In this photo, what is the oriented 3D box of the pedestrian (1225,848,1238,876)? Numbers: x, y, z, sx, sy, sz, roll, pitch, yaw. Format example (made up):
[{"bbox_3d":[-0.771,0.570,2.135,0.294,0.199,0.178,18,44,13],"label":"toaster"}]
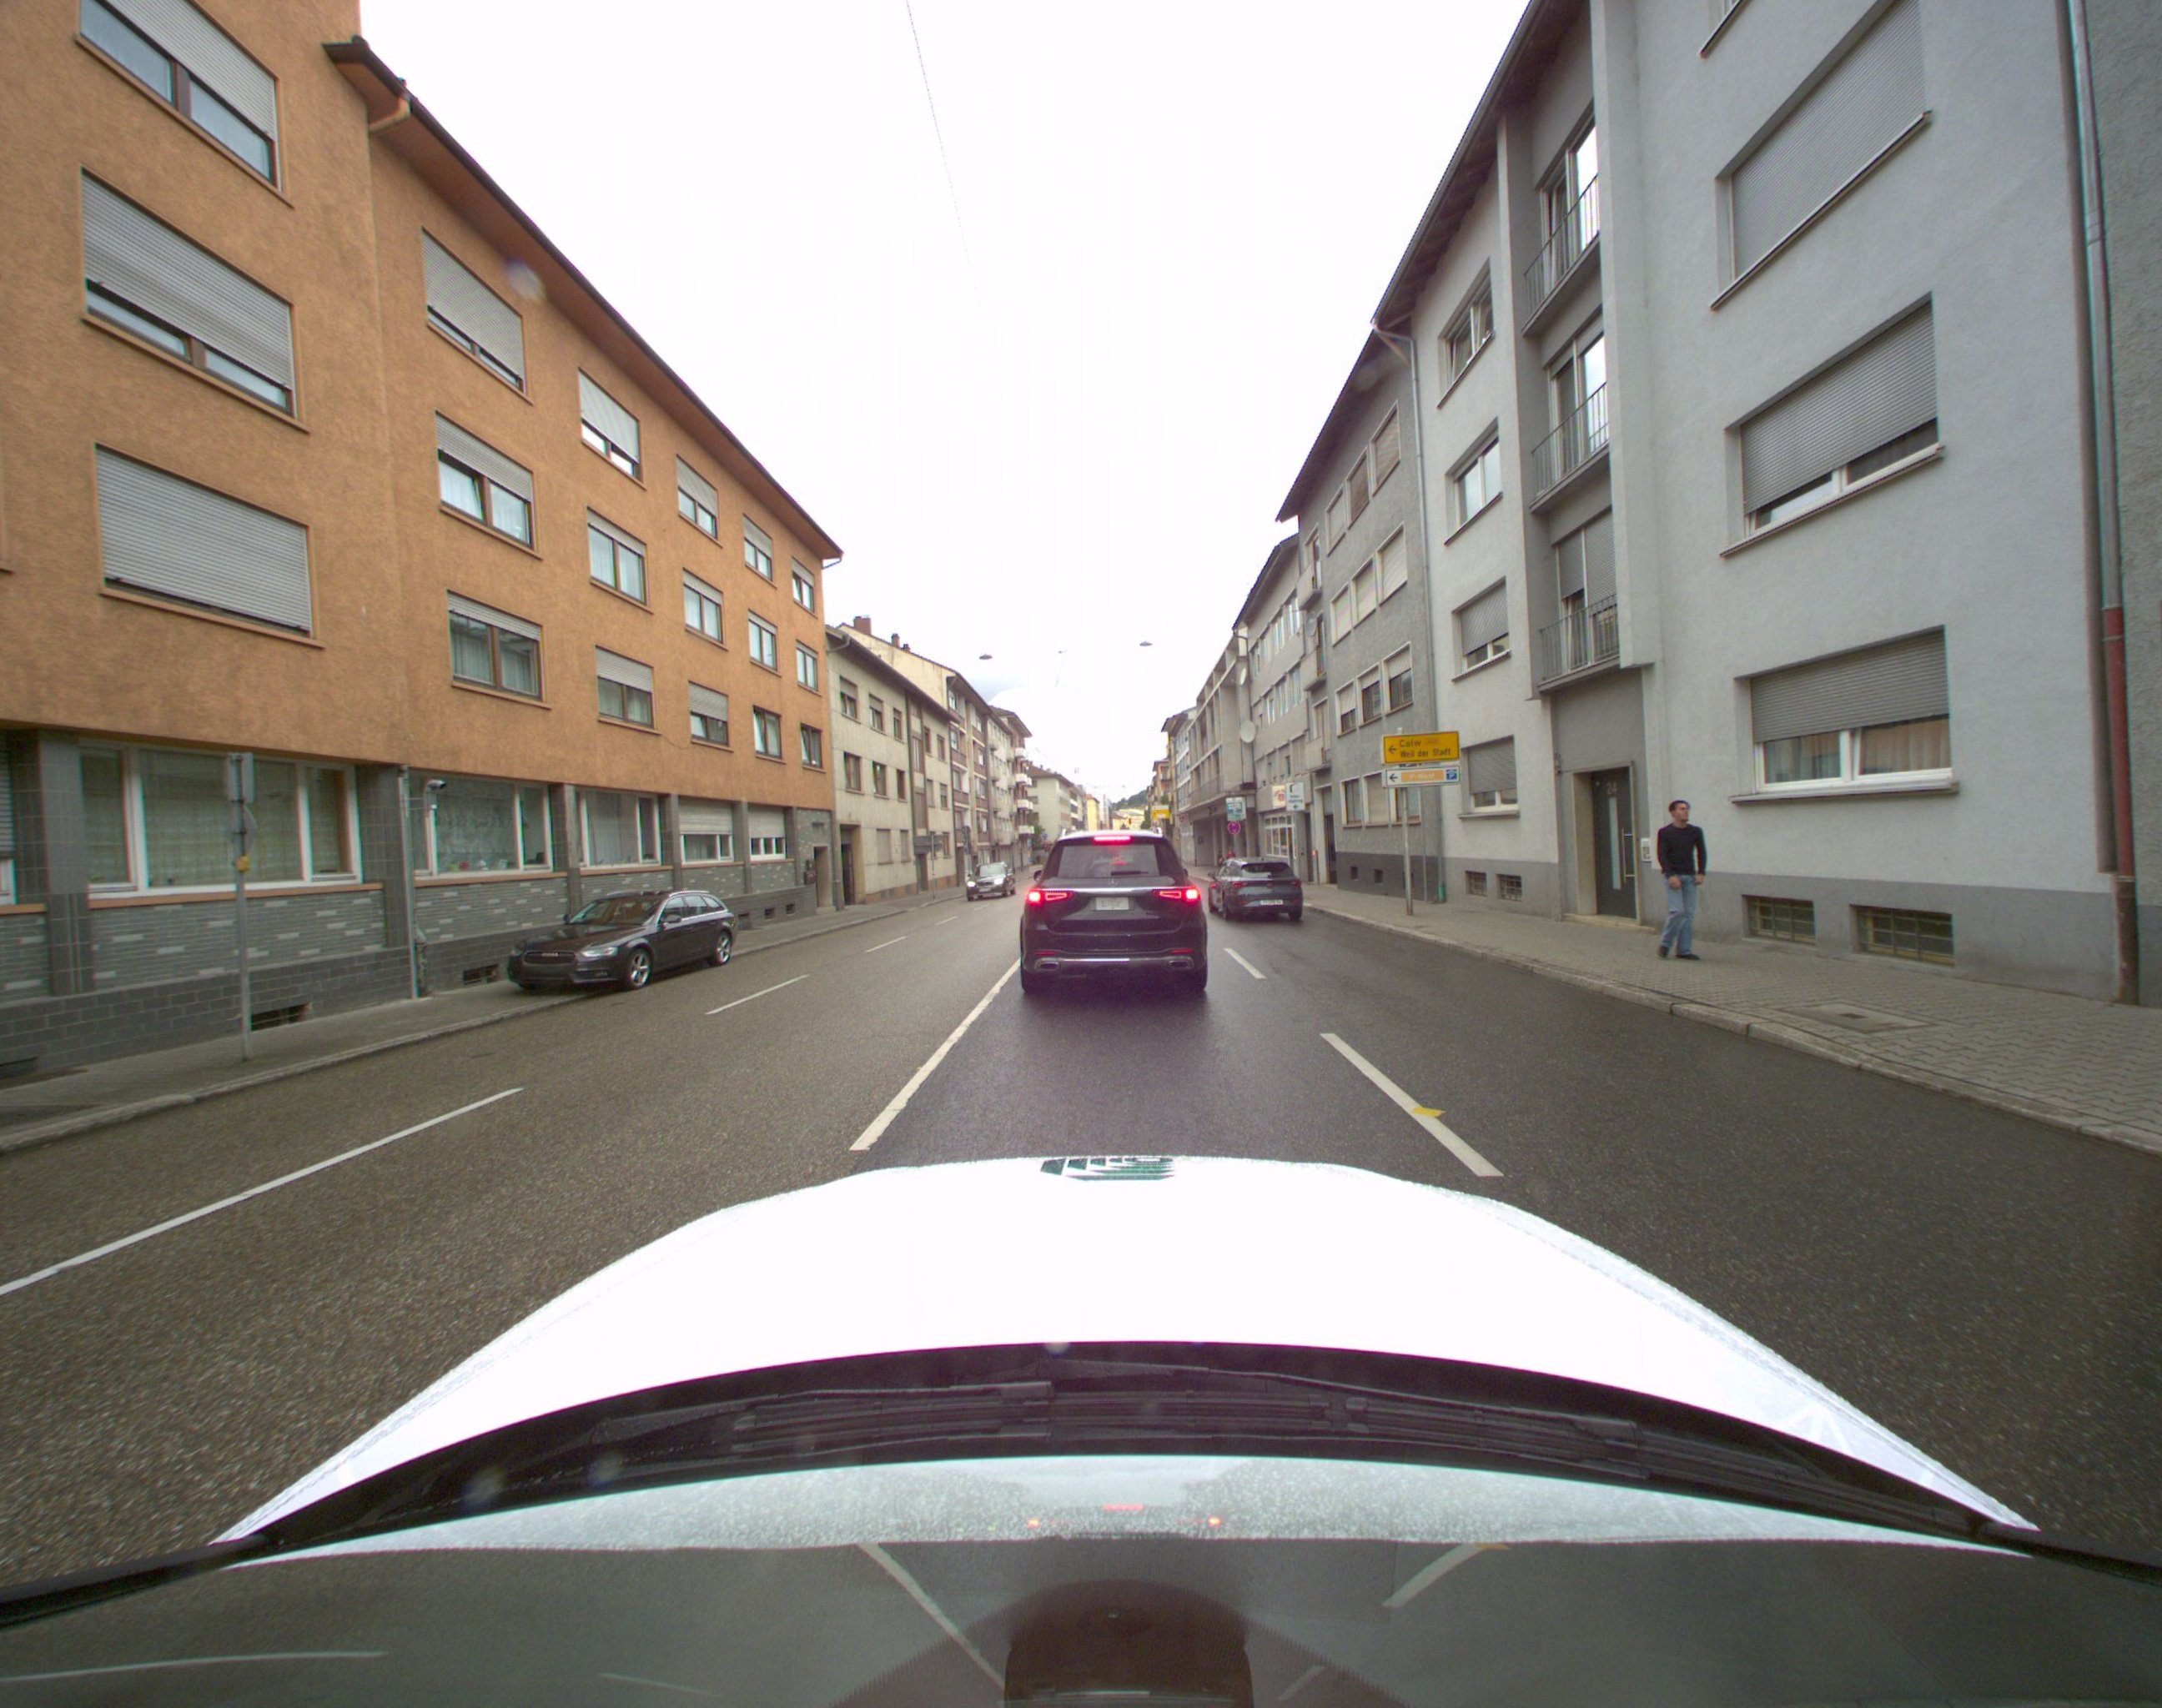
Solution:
[{"bbox_3d":[8.610,0.461,46.591,0.558,1.578,0.526,-5,0,0],"label":"pedestrian"}]

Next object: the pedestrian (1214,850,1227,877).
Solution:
[{"bbox_3d":[7.975,0.550,46.577,0.504,1.500,0.562,-5,0,1],"label":"pedestrian"}]

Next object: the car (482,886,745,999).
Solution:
[{"bbox_3d":[-7.629,1.359,13.931,1.789,1.438,4.528,0,0,1],"label":"car"}]

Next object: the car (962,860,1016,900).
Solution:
[{"bbox_3d":[-3.996,1.086,36.075,1.697,1.507,4.160,-5,0,1],"label":"car"}]

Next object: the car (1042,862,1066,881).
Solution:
[{"bbox_3d":[-2.511,1.629,77.136,1.789,1.584,4.320,-5,0,3],"label":"car"}]

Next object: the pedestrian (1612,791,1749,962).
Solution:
[{"bbox_3d":[6.772,0.242,9.257,0.641,1.778,1.057,-5,0,1],"label":"pedestrian"}]

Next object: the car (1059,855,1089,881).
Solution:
[{"bbox_3d":[-0.523,1.054,62.456,1.828,1.727,4.479,-5,0,4],"label":"car"}]

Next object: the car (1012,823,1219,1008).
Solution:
[{"bbox_3d":[0.388,0.602,9.952,2.018,1.806,4.001,0,0,1],"label":"car"}]

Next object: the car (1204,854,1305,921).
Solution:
[{"bbox_3d":[4.055,0.728,19.662,1.615,1.430,4.313,0,0,1],"label":"car"}]
